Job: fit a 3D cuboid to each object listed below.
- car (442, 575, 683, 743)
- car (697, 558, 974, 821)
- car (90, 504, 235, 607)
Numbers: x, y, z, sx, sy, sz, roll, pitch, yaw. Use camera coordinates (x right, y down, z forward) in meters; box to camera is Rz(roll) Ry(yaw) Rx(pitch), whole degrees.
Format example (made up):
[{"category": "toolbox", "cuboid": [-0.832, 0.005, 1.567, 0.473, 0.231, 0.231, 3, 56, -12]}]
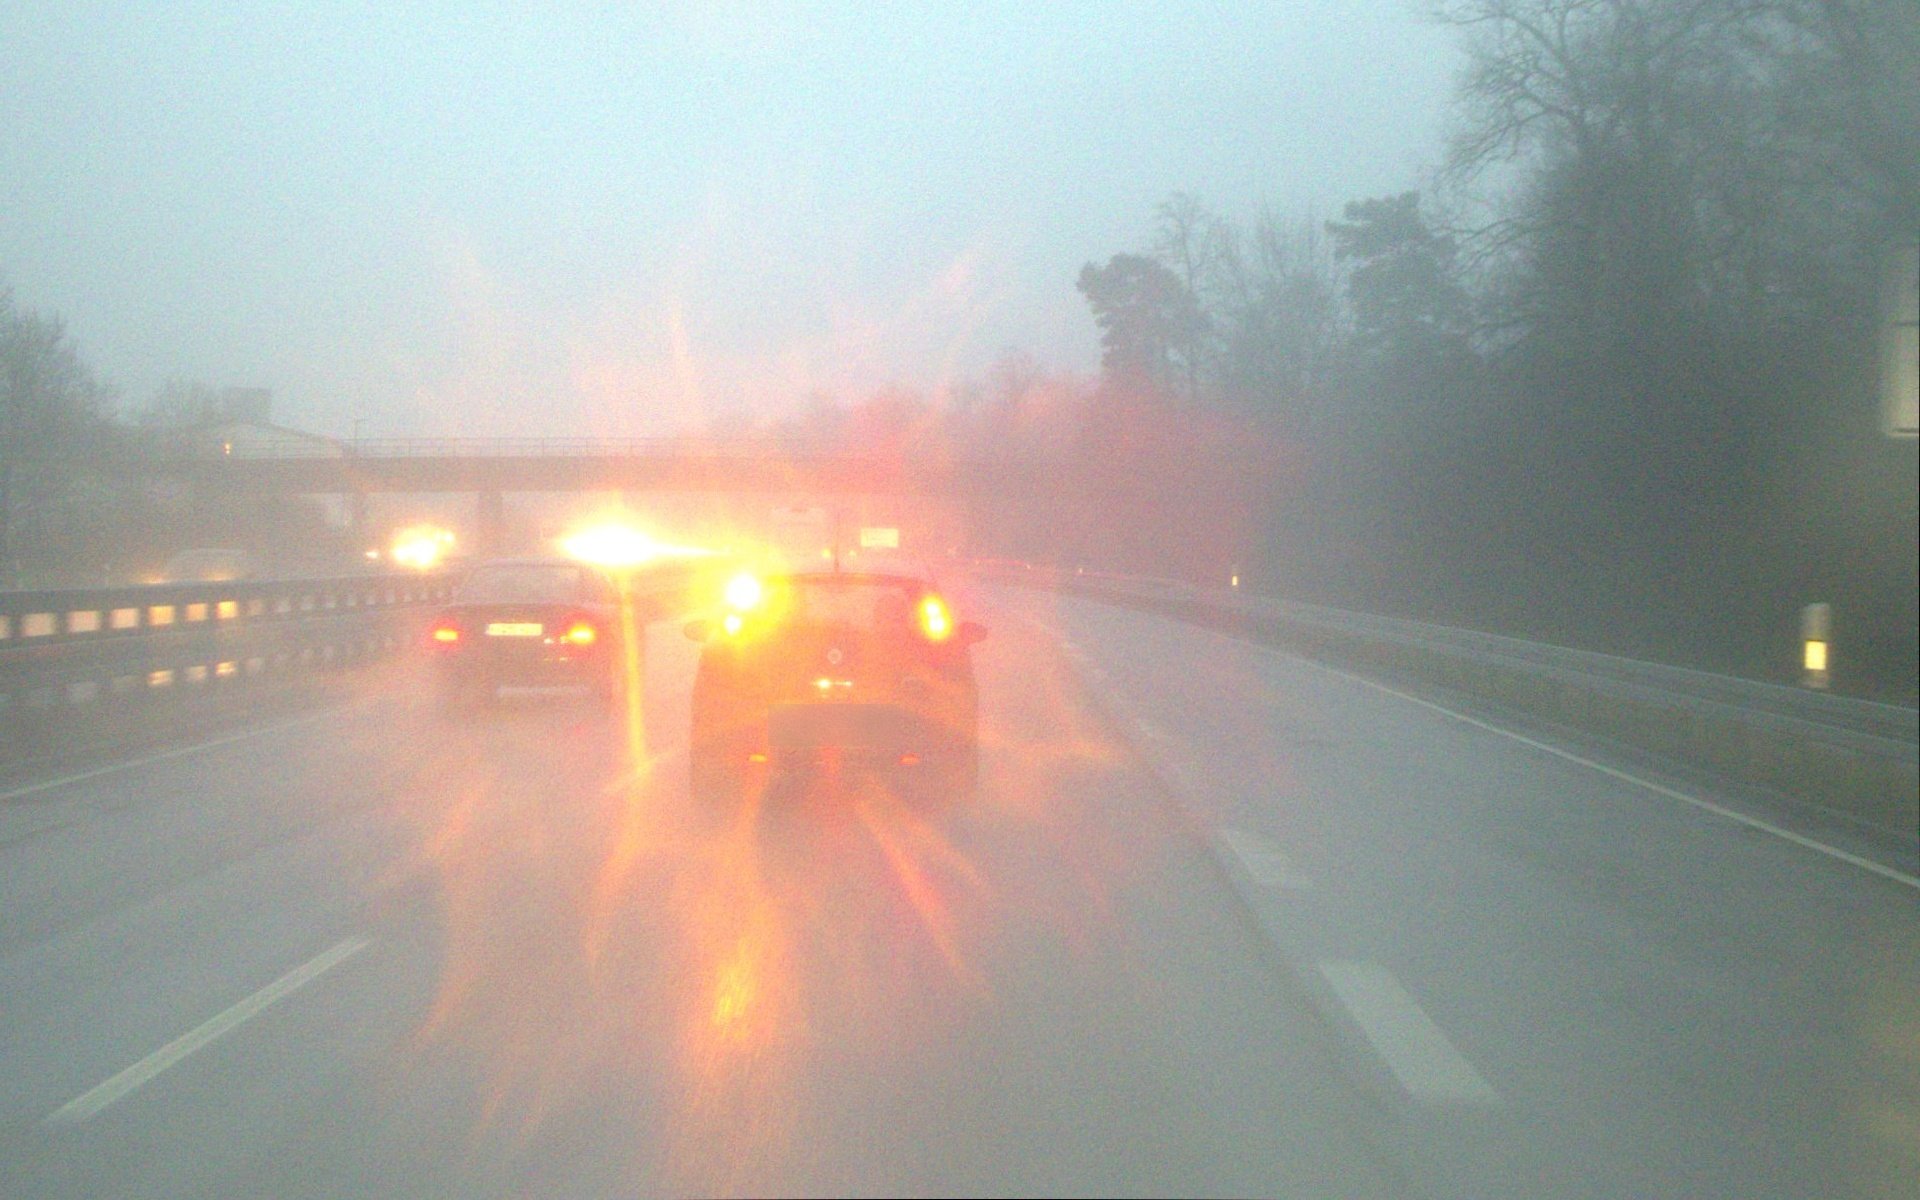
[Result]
[{"category": "car", "cuboid": [-3.888, 0.540, 34.295, 1.776, 1.529, 4.702, -1, 0, 1]}, {"category": "car", "cuboid": [-0.716, 0.495, 21.649, 1.527, 1.411, 3.479, 3, 1, 0]}, {"category": "car", "cuboid": [-15.002, -0.856, 64.852, 1.644, 1.779, 4.207, 3, 1, 0]}]
